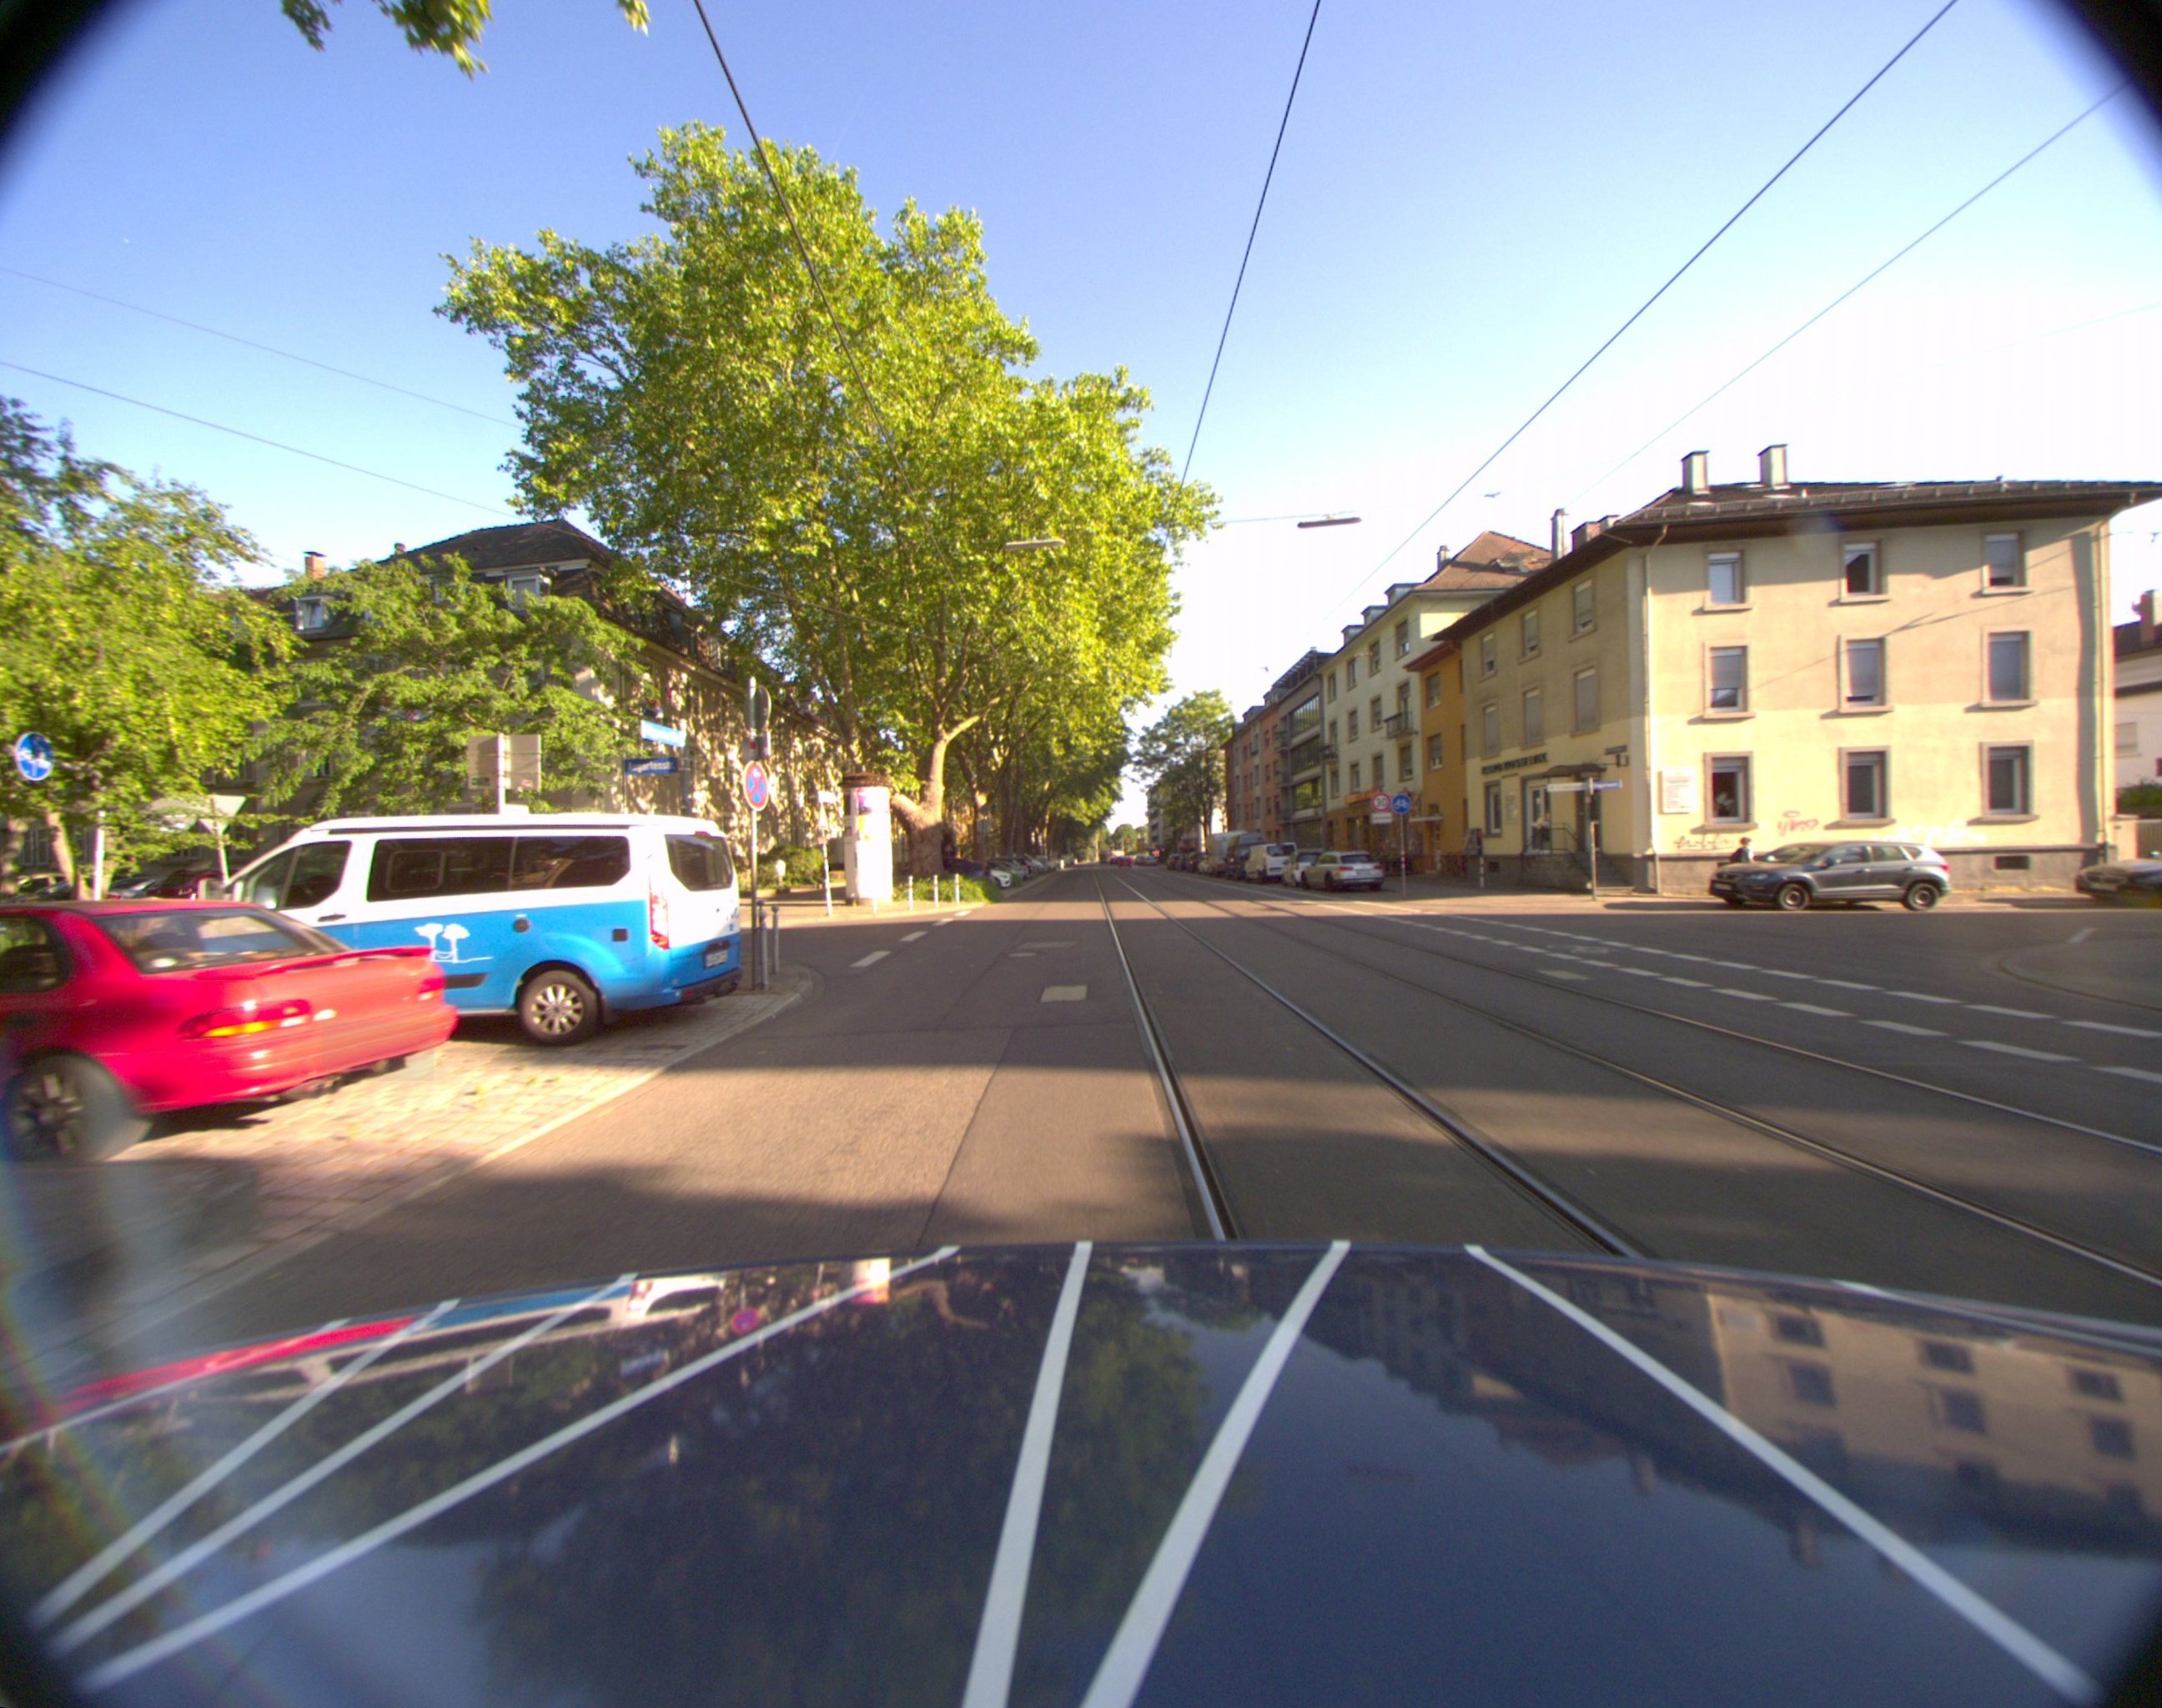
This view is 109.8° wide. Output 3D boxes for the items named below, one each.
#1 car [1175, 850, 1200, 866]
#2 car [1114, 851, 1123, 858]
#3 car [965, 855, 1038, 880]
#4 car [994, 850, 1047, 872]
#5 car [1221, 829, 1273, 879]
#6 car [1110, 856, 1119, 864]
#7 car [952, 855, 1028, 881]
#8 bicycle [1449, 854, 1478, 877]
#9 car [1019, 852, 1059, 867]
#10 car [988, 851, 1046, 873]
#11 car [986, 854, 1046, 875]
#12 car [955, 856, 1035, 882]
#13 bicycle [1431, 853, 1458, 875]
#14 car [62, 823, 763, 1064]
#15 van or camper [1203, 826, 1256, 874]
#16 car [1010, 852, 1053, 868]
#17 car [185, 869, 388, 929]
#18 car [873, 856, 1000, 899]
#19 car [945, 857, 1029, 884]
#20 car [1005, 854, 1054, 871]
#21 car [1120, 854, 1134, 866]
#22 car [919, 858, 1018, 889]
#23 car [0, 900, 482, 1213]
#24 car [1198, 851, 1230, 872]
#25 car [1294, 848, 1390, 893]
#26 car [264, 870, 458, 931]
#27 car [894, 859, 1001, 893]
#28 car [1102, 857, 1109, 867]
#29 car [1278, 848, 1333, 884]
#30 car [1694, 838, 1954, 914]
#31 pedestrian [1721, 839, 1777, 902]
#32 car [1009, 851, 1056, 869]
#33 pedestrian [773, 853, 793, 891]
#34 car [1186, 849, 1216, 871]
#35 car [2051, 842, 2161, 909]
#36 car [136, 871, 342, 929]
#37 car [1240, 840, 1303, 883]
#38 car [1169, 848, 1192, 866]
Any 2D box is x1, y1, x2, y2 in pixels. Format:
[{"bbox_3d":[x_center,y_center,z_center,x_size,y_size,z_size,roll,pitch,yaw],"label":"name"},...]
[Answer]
[{"bbox_3d":[10.404,0.373,74.418,1.791,1.462,4.434,-2,0,0],"label":"car"},{"bbox_3d":[7.998,0.093,162.335,1.769,1.448,3.586,-1,0,1],"label":"car"},{"bbox_3d":[-5.321,0.893,51.048,4.611,1.631,1.893,-1,0,3],"label":"car"},{"bbox_3d":[-5.558,0.637,70.469,4.636,2.001,1.893,-1,0,3],"label":"car"},{"bbox_3d":[9.910,-0.002,45.747,1.927,2.730,4.546,-5,0,1],"label":"car"},{"bbox_3d":[6.501,1.168,147.610,1.769,1.448,3.586,-1,0,1],"label":"car"},{"bbox_3d":[-5.823,0.895,49.084,4.611,1.557,1.893,-1,0,3],"label":"car"},{"bbox_3d":[15.707,0.457,31.246,0.362,0.923,1.647,-1,0,1],"label":"bicycle"},{"bbox_3d":[-5.015,0.656,90.616,4.611,1.705,1.893,-1,0,3],"label":"car"},{"bbox_3d":[-5.382,0.680,64.245,4.611,1.781,1.893,-1,0,3],"label":"car"},{"bbox_3d":[-5.238,0.851,61.737,4.611,1.631,1.893,-1,0,3],"label":"car"},{"bbox_3d":[-5.259,0.924,46.705,4.611,1.485,1.893,-1,0,3],"label":"car"},{"bbox_3d":[15.748,0.408,32.943,0.362,0.923,1.647,-1,0,1],"label":"bicycle"},{"bbox_3d":[-6.022,0.739,7.488,4.859,2.002,2.193,0,0,-3],"label":"car"},{"bbox_3d":[10.137,-0.281,52.437,2.423,2.960,5.991,-5,0,2],"label":"van or camper"},{"bbox_3d":[-5.556,0.709,85.986,4.611,1.705,1.893,-1,0,3],"label":"car"},{"bbox_3d":[-24.305,1.318,23.478,1.727,1.573,4.003,-1,0,10],"label":"car"},{"bbox_3d":[-5.835,0.941,31.074,4.810,1.621,1.893,-1,0,1],"label":"car"},{"bbox_3d":[-5.449,0.978,44.434,4.611,1.485,1.893,-1,0,3],"label":"car"},{"bbox_3d":[-5.109,0.885,75.986,4.611,1.631,1.893,-1,0,3],"label":"car"},{"bbox_3d":[6.164,0.789,102.090,1.769,1.448,3.586,-1,0,1],"label":"car"},{"bbox_3d":[-5.609,0.987,38.330,4.611,1.485,1.893,-1,0,3],"label":"car"},{"bbox_3d":[-6.359,1.086,4.734,3.792,1.479,1.790,0,0,-1],"label":"car"},{"bbox_3d":[10.218,0.553,58.687,1.791,1.506,3.473,-2,0,0],"label":"car"},{"bbox_3d":[9.872,0.575,29.192,1.776,1.484,4.940,-2,0,-2],"label":"car"},{"bbox_3d":[-21.687,1.334,23.145,1.727,1.573,4.003,-1,0,10],"label":"car"},{"bbox_3d":[-5.819,0.951,33.538,4.368,1.436,1.893,-1,0,-2],"label":"car"},{"bbox_3d":[6.735,2.227,209.936,1.998,2.756,4.742,-1,0,1],"label":"car"},{"bbox_3d":[9.967,0.515,33.870,1.575,1.484,2.883,-2,0,1],"label":"car"},{"bbox_3d":[17.281,0.491,17.875,4.071,1.608,1.966,-1,1,4],"label":"car"},{"bbox_3d":[17.313,0.414,19.703,0.774,1.579,0.753,-2,4,5],"label":"pedestrian"},{"bbox_3d":[-4.997,0.648,78.379,4.611,1.781,1.893,-1,0,3],"label":"car"},{"bbox_3d":[-14.211,0.865,36.287,0.618,1.757,0.642,-1,1,45],"label":"pedestrian"},{"bbox_3d":[10.104,0.459,64.374,1.791,1.743,4.434,-2,0,0],"label":"car"},{"bbox_3d":[25.157,0.428,17.045,4.071,1.381,1.966,-1,0,4],"label":"car"},{"bbox_3d":[-26.384,1.380,24.033,1.727,1.573,4.003,-1,0,10],"label":"car"},{"bbox_3d":[9.885,0.350,39.768,1.928,2.034,4.941,-2,0,0],"label":"car"},{"bbox_3d":[10.329,0.288,79.036,1.791,1.660,4.434,-2,0,0],"label":"car"}]
